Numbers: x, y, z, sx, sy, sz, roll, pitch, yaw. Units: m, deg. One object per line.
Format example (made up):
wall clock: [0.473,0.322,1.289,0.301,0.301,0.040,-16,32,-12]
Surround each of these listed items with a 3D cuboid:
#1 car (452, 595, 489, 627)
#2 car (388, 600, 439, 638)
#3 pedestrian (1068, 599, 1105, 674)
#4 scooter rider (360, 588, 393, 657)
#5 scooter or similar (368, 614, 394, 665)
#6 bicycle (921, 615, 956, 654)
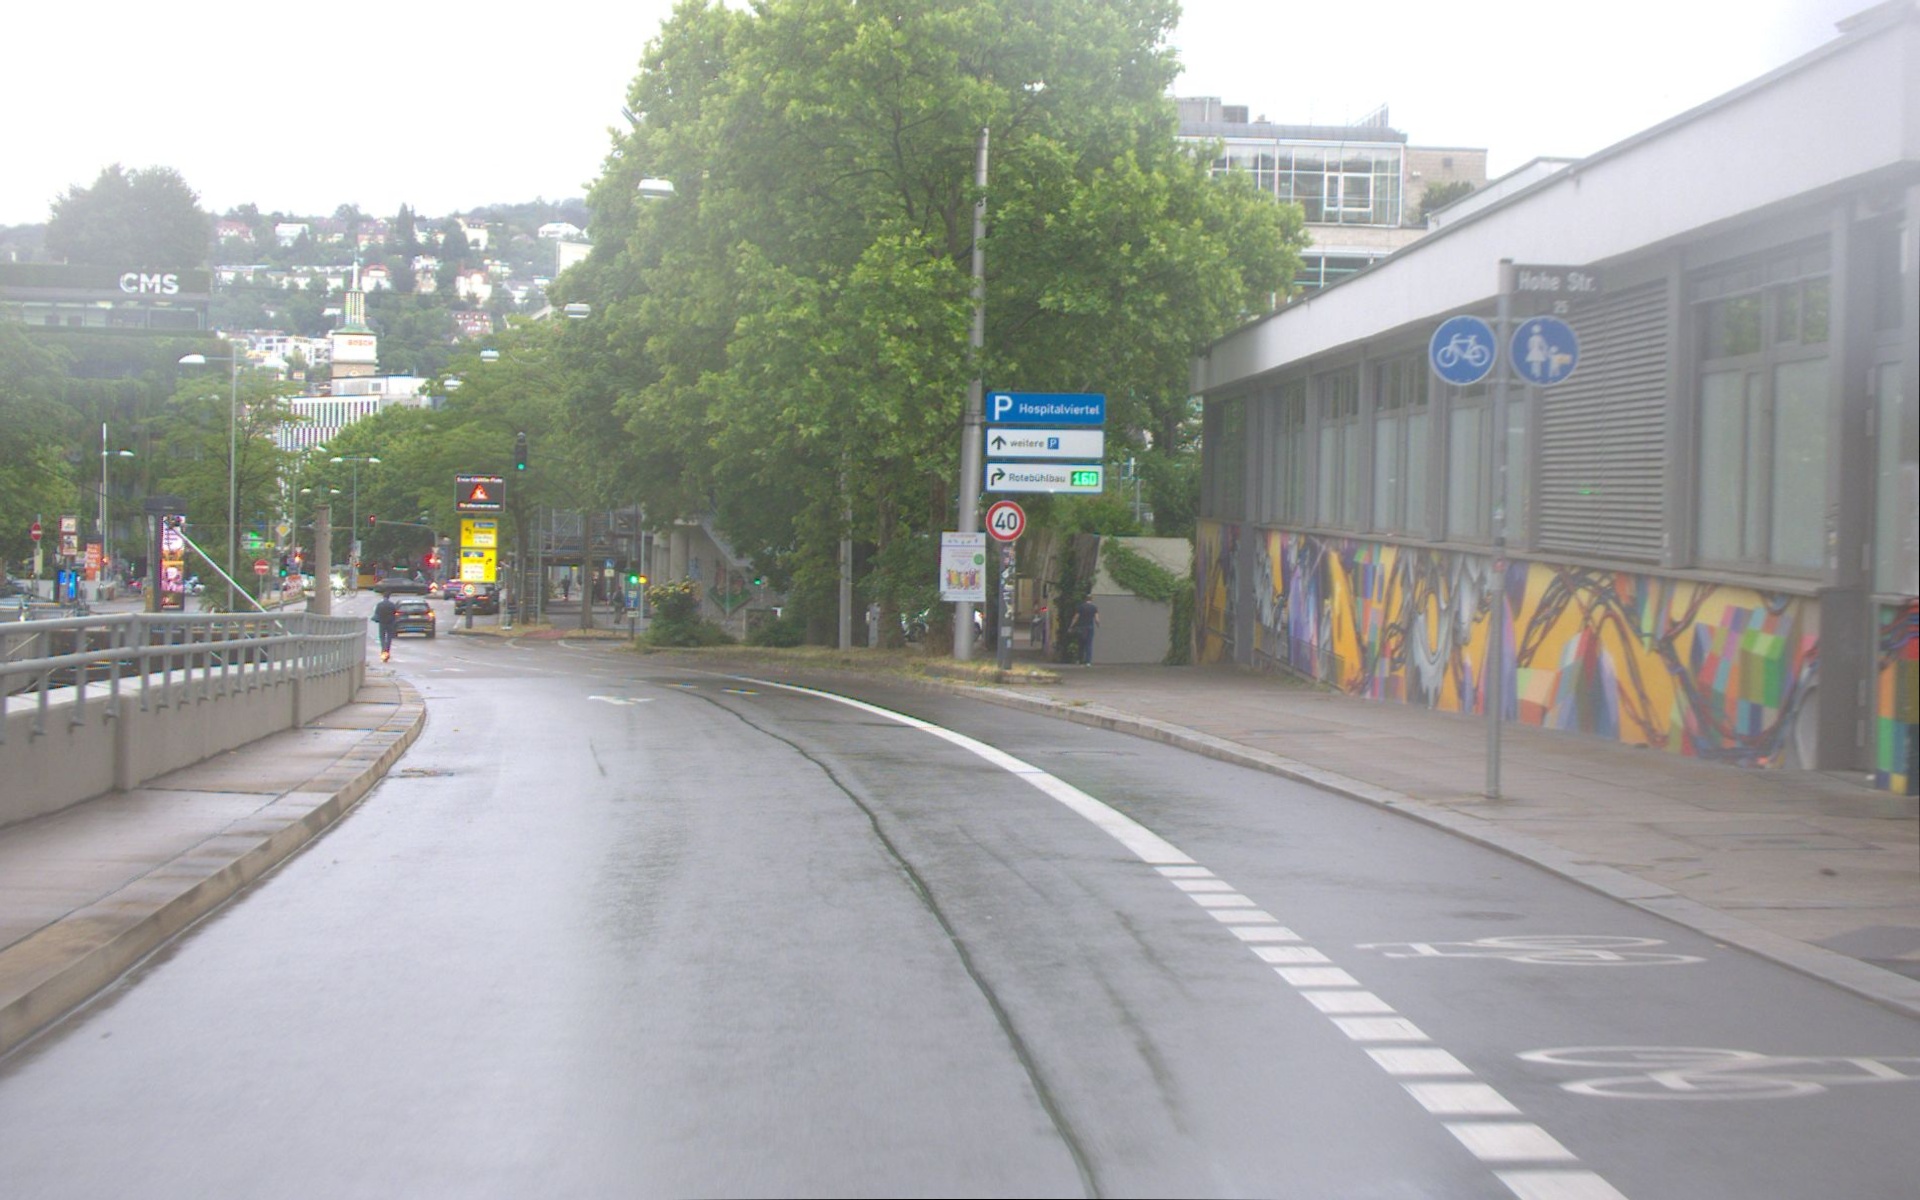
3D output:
car: [-26.631,0.601,187.052,1.901,1.678,3.911,1,0,-8]
car: [-22.317,0.769,140.325,1.745,1.514,4.108,1,0,-13]
pedestrian: [3.168,0.921,86.247,0.807,1.858,1.056,-1,0,-3]
scooter rider: [-16.581,0.640,97.743,0.808,1.941,0.822,2,0,-15]
scooter or similar: [-16.443,1.105,97.695,0.546,1.414,1.956,1,0,-14]
bicycle: [-0.639,0.997,100.391,0.806,1.108,2.198,0,0,-6]
